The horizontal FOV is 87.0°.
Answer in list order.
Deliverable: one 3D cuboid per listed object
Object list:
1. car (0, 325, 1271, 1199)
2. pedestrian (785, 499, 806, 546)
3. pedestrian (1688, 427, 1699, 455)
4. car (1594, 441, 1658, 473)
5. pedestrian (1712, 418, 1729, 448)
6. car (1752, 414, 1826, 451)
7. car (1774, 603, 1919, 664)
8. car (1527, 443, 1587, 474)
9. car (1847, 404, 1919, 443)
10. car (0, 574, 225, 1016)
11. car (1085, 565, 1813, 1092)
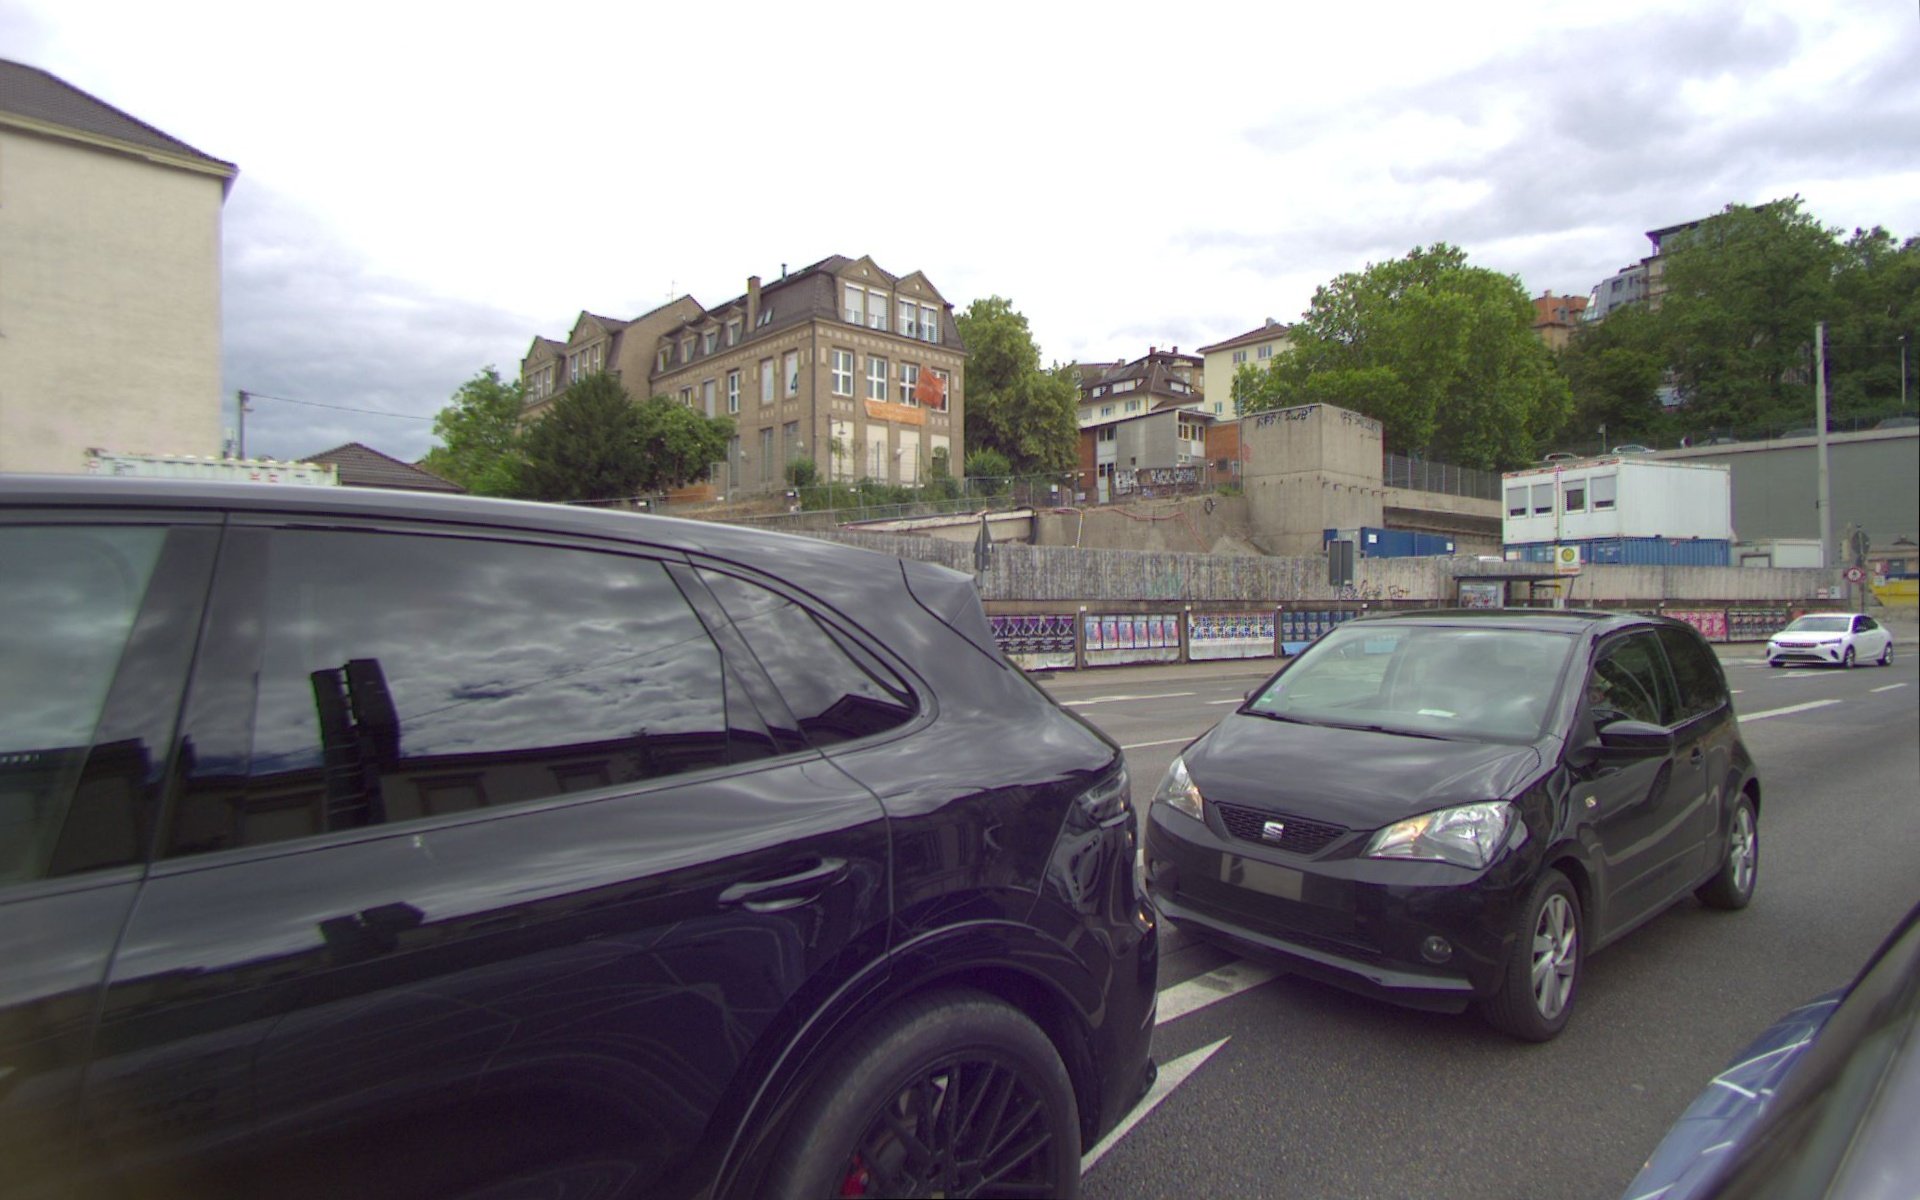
[{"bbox_3d":[-1.634,0.587,1.704,4.552,1.707,1.959,0,-1,-40],"label":"car"},{"bbox_3d":[-7.320,-3.454,45.099,0.656,2.039,0.644,0,0,-45],"label":"pedestrian"},{"bbox_3d":[56.935,-12.367,78.563,0.568,2.039,0.580,0,0,-44],"label":"pedestrian"},{"bbox_3d":[53.557,-11.481,81.442,3.988,2.039,1.968,0,1,45],"label":"car"},{"bbox_3d":[56.044,-12.291,74.547,0.891,2.039,0.849,0,-1,-45],"label":"pedestrian"},{"bbox_3d":[60.607,-12.195,74.019,1.966,2.039,3.991,0,1,-43],"label":"car"},{"bbox_3d":[23.696,0.854,27.032,3.919,1.498,1.667,0,0,-29],"label":"car"},{"bbox_3d":[50.241,-11.889,85.231,3.988,2.039,1.968,0,1,45],"label":"car"},{"bbox_3d":[64.146,-12.165,70.051,1.966,2.039,3.991,0,1,-43],"label":"car"},{"bbox_3d":[-4.895,0.695,3.422,3.812,1.563,1.667,0,-1,-40],"label":"car"},{"bbox_3d":[2.515,0.664,4.789,3.812,1.515,1.667,0,-1,-40],"label":"car"}]
